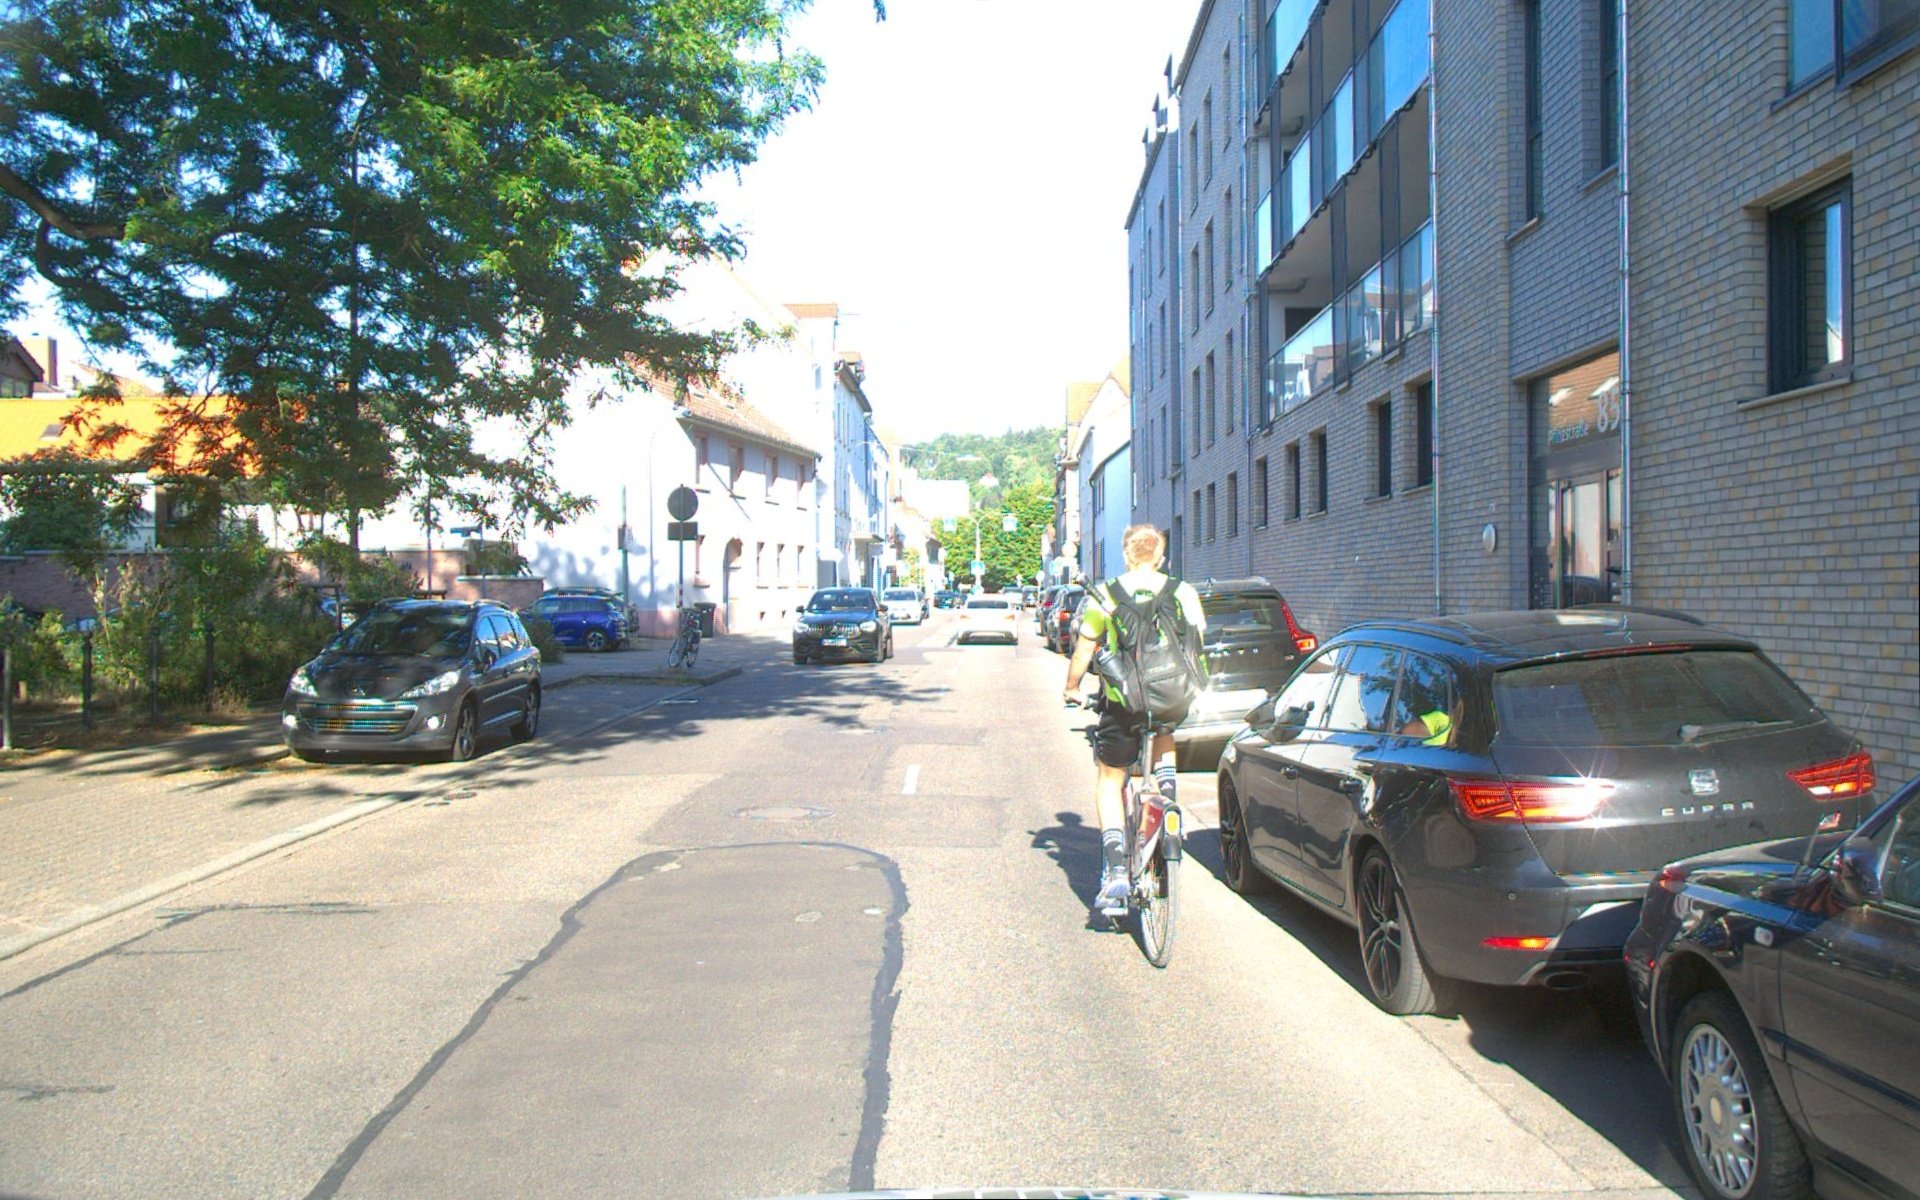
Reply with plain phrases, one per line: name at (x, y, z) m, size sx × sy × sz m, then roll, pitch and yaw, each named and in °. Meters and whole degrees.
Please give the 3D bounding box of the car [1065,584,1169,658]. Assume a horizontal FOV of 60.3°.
car at (3.487, 0.431, 37.555) m, size 1.953 × 1.532 × 4.367 m, roll -1°, pitch 1°, yaw 0°

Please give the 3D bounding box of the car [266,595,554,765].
car at (-5.491, 0.720, 17.031) m, size 1.662 × 1.518 × 3.999 m, roll -1°, pitch 0°, yaw -1°

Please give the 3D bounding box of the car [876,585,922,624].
car at (-2.649, 0.159, 72.968) m, size 1.953 × 1.676 × 5.220 m, roll 0°, pitch 1°, yaw -2°

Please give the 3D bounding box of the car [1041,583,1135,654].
car at (3.242, 0.429, 42.667) m, size 1.953 × 1.682 × 4.762 m, roll -1°, pitch 1°, yaw -1°

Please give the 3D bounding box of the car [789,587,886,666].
car at (-2.624, 0.544, 36.307) m, size 1.900 × 1.603 × 4.318 m, roll -1°, pitch 0°, yaw -2°

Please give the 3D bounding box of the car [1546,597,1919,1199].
car at (2.725, 0.784, 2.988) m, size 1.630 × 1.542 × 4.217 m, roll -2°, pitch 0°, yaw -3°

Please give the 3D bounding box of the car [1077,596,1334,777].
car at (2.206, 0.720, 15.988) m, size 1.779 × 1.492 × 4.269 m, roll -1°, pitch 0°, yaw -1°

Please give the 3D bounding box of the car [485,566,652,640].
car at (-11.364, 0.067, 48.152) m, size 4.273 × 1.825 × 1.989 m, roll 3°, pitch 3°, yaw 2°

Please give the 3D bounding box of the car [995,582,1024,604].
car at (3.411, -0.475, 115.027) m, size 1.952 × 1.492 × 4.000 m, roll -1°, pitch 0°, yaw 0°

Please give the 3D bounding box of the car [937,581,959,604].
car at (-1.086, -0.696, 149.976) m, size 1.953 × 2.049 × 4.000 m, roll 0°, pitch 0°, yaw 0°

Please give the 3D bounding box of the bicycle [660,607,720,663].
bicycle at (-5.179, 0.656, 31.822) m, size 0.689 × 1.020 × 1.942 m, roll 0°, pitch 0°, yaw 4°

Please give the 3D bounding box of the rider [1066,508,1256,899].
rider at (0.869, 0.436, 7.384) m, size 0.640 × 1.589 × 1.083 m, roll 2°, pitch -1°, yaw -1°

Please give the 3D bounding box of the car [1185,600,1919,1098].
car at (2.334, 0.785, 7.619) m, size 1.663 × 1.493 × 4.717 m, roll -2°, pitch 0°, yaw -3°

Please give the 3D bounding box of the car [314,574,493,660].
car at (-14.877, 0.437, 44.394) m, size 3.908 × 1.524 × 2.001 m, roll -9°, pitch 4°, yaw 2°

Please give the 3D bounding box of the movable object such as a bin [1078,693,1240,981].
movable object such as a bin at (0.859, 0.993, 7.499) m, size 0.445 × 1.051 × 1.840 m, roll 2°, pitch -1°, yaw -1°

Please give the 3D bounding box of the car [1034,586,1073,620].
car at (4.449, 0.142, 78.960) m, size 1.705 × 1.518 × 4.440 m, roll -2°, pitch 0°, yaw 2°

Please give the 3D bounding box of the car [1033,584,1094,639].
car at (3.432, 0.347, 55.581) m, size 1.816 × 1.664 × 4.624 m, roll -3°, pitch 1°, yaw 2°

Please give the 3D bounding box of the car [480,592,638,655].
car at (-10.728, 0.615, 44.442) m, size 3.689 × 1.556 × 2.001 m, roll -1°, pitch 1°, yaw 1°

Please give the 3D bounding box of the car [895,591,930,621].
car at (-2.556, 0.327, 89.512) m, size 1.695 × 1.525 × 3.959 m, roll -1°, pitch 0°, yaw 0°

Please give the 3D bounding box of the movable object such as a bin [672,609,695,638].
movable object such as a bin at (-8.485, 0.721, 50.708) m, size 0.586 × 0.887 × 0.606 m, roll -1°, pitch 0°, yaw -1°

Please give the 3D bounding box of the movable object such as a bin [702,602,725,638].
movable object such as a bin at (-7.711, 0.632, 51.706) m, size 0.586 × 1.113 × 0.751 m, roll 0°, pitch 0°, yaw 1°

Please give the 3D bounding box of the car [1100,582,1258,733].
car at (2.798, 0.662, 21.974) m, size 1.850 × 1.742 × 4.777 m, roll 0°, pitch 1°, yaw 5°

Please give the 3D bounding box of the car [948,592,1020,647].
car at (0.664, 0.536, 48.040) m, size 1.953 × 1.492 × 3.999 m, roll -1°, pitch 0°, yaw -1°

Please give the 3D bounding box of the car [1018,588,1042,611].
car at (6.065, -0.072, 143.725) m, size 1.969 × 1.885 × 4.000 m, roll 1°, pitch 1°, yaw 0°

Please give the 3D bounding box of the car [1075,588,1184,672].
car at (3.270, 0.543, 32.635) m, size 1.678 × 1.429 × 4.073 m, roll -4°, pitch 0°, yaw 0°
